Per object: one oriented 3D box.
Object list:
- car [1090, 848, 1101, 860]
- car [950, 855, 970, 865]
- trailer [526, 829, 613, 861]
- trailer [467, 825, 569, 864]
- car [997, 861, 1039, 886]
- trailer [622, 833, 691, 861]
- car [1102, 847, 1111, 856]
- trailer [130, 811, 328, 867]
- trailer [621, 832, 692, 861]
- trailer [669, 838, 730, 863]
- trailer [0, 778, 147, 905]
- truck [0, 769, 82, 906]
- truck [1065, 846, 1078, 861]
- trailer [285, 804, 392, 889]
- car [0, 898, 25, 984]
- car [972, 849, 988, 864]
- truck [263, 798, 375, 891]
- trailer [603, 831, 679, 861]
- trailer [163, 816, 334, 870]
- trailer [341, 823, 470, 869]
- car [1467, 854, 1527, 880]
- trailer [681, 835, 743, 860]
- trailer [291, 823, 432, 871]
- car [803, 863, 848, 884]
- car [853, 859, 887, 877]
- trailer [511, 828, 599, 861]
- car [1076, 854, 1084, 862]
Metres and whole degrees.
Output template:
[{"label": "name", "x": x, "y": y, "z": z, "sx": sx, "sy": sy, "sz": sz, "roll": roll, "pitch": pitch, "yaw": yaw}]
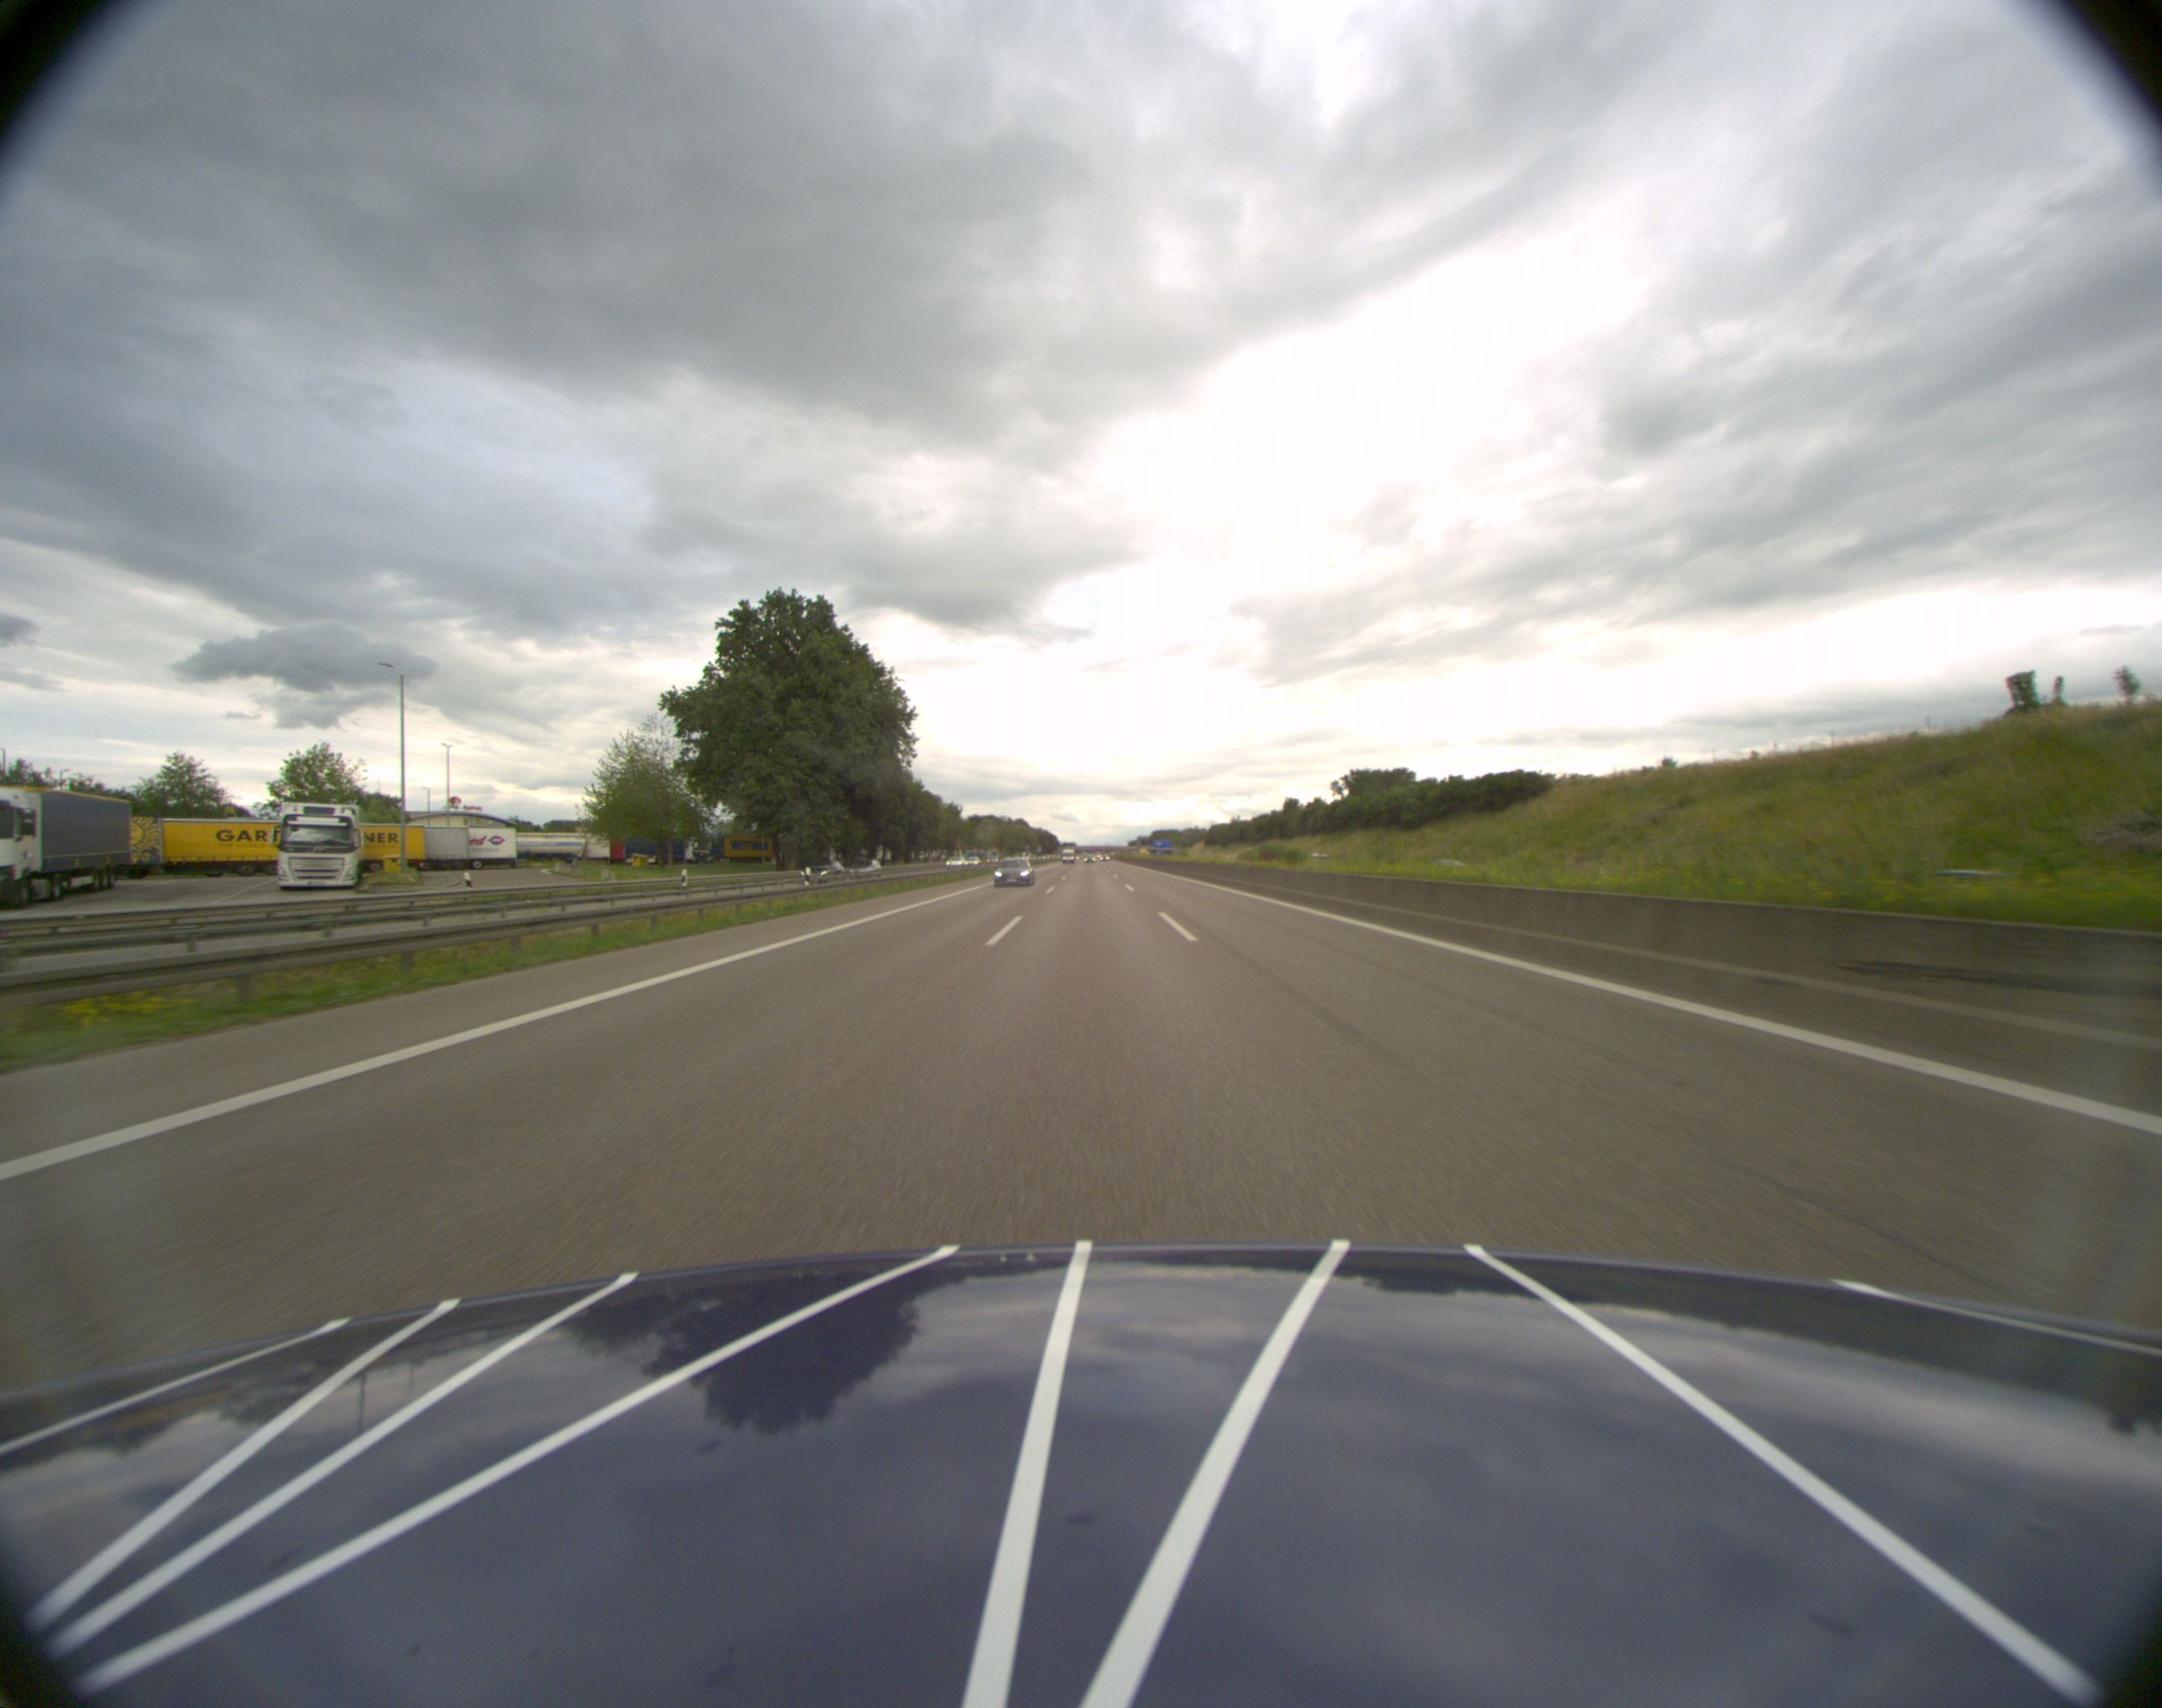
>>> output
[{"label": "car", "x": 2.585, "y": 0.011, "z": 136.890, "sx": 1.998, "sy": 2.002, "sz": 4.000, "roll": 0, "pitch": 1, "yaw": 1}, {"label": "car", "x": -15.184, "y": 0.741, "z": 95.548, "sx": 1.828, "sy": 1.236, "sz": 3.878, "roll": 0, "pitch": 0, "yaw": 1}, {"label": "trailer", "x": -58.993, "y": -1.072, "z": 87.733, "sx": 2.914, "sy": 3.455, "sz": 7.765, "roll": -1, "pitch": 1, "yaw": 45}, {"label": "trailer", "x": -55.648, "y": -0.952, "z": 75.238, "sx": 2.914, "sy": 3.594, "sz": 7.603, "roll": -1, "pitch": 1, "yaw": 45}, {"label": "car", "x": -3.234, "y": 0.974, "z": 39.691, "sx": 1.781, "sy": 1.180, "sz": 4.000, "roll": 0, "pitch": 0, "yaw": 1}, {"label": "trailer", "x": -57.830, "y": -0.998, "z": 103.643, "sx": 2.914, "sy": 3.438, "sz": 7.603, "roll": -1, "pitch": 1, "yaw": 45}, {"label": "car", "x": 5.833, "y": -0.511, "z": 175.912, "sx": 1.998, "sy": 2.002, "sz": 4.000, "roll": 0, "pitch": 1, "yaw": 1}, {"label": "trailer", "x": -53.686, "y": -1.008, "z": 48.326, "sx": 8.049, "sy": 3.227, "sz": 2.914, "roll": -3, "pitch": 1, "yaw": -45}, {"label": "trailer", "x": -56.110, "y": -1.030, "z": 100.615, "sx": 2.914, "sy": 3.438, "sz": 7.603, "roll": -1, "pitch": 1, "yaw": 45}, {"label": "trailer", "x": -57.460, "y": -0.585, "z": 114.576, "sx": 2.914, "sy": 3.438, "sz": 7.603, "roll": -1, "pitch": 1, "yaw": 45}, {"label": "trailer", "x": -39.735, "y": -0.264, "z": 29.238, "sx": 2.668, "sy": 4.089, "sz": 14.030, "roll": -3, "pitch": 1, "yaw": -43}, {"label": "truck", "x": -35.276, "y": -0.398, "z": 24.381, "sx": 2.674, "sy": 4.125, "sz": 5.914, "roll": -3, "pitch": 1, "yaw": -42}, {"label": "truck", "x": -1.640, "y": -0.067, "z": 135.545, "sx": 1.998, "sy": 2.482, "sz": 5.869, "roll": -2, "pitch": 1, "yaw": 1}, {"label": "trailer", "x": -40.071, "y": -0.316, "z": 41.380, "sx": 2.821, "sy": 4.031, "sz": 10.933, "roll": -3, "pitch": 1, "yaw": -38}, {"label": "car", "x": -16.736, "y": 1.331, "z": 9.588, "sx": 1.796, "sy": 1.251, "sz": 3.545, "roll": -2, "pitch": 1, "yaw": 0}, {"label": "car", "x": -14.545, "y": 0.345, "z": 109.657, "sx": 1.606, "sy": 2.002, "sz": 4.000, "roll": -2, "pitch": 1, "yaw": 1}, {"label": "truck", "x": -36.176, "y": -0.406, "z": 36.337, "sx": 2.831, "sy": 4.037, "sz": 6.432, "roll": -3, "pitch": 1, "yaw": -38}, {"label": "trailer", "x": -55.605, "y": -1.018, "z": 96.148, "sx": 2.914, "sy": 3.438, "sz": 7.603, "roll": -1, "pitch": 1, "yaw": 45}, {"label": "trailer", "x": -60.113, "y": -0.857, "z": 55.180, "sx": 2.914, "sy": 3.594, "sz": 8.050, "roll": -1, "pitch": 1, "yaw": 43}, {"label": "trailer", "x": -58.912, "y": -0.768, "z": 66.474, "sx": 2.914, "sy": 3.779, "sz": 8.050, "roll": -1, "pitch": 1, "yaw": 43}, {"label": "car", "x": 20.410, "y": 0.627, "z": 37.397, "sx": 1.491, "sy": 1.200, "sz": 2.715, "roll": 0, "pitch": 0, "yaw": 1}, {"label": "trailer", "x": -54.485, "y": -0.945, "z": 112.439, "sx": 2.914, "sy": 3.438, "sz": 7.603, "roll": -1, "pitch": 1, "yaw": 45}, {"label": "trailer", "x": -58.500, "y": -0.641, "z": 61.983, "sx": 2.914, "sy": 3.594, "sz": 8.050, "roll": -1, "pitch": 1, "yaw": 43}, {"label": "car", "x": -16.361, "y": 1.224, "z": 48.764, "sx": 1.465, "sy": 1.208, "sz": 4.000, "roll": 0, "pitch": 0, "yaw": 1}, {"label": "car", "x": -16.062, "y": 1.036, "z": 58.013, "sx": 1.413, "sy": 1.299, "sz": 4.000, "roll": 0, "pitch": 0, "yaw": 1}, {"label": "trailer", "x": -57.713, "y": -1.075, "z": 83.569, "sx": 2.914, "sy": 3.438, "sz": 7.407, "roll": -1, "pitch": 1, "yaw": 45}, {"label": "car", "x": -0.248, "y": 1.083, "z": 212.478, "sx": 1.998, "sy": 2.002, "sz": 3.999, "roll": -2, "pitch": 1, "yaw": 0}]
